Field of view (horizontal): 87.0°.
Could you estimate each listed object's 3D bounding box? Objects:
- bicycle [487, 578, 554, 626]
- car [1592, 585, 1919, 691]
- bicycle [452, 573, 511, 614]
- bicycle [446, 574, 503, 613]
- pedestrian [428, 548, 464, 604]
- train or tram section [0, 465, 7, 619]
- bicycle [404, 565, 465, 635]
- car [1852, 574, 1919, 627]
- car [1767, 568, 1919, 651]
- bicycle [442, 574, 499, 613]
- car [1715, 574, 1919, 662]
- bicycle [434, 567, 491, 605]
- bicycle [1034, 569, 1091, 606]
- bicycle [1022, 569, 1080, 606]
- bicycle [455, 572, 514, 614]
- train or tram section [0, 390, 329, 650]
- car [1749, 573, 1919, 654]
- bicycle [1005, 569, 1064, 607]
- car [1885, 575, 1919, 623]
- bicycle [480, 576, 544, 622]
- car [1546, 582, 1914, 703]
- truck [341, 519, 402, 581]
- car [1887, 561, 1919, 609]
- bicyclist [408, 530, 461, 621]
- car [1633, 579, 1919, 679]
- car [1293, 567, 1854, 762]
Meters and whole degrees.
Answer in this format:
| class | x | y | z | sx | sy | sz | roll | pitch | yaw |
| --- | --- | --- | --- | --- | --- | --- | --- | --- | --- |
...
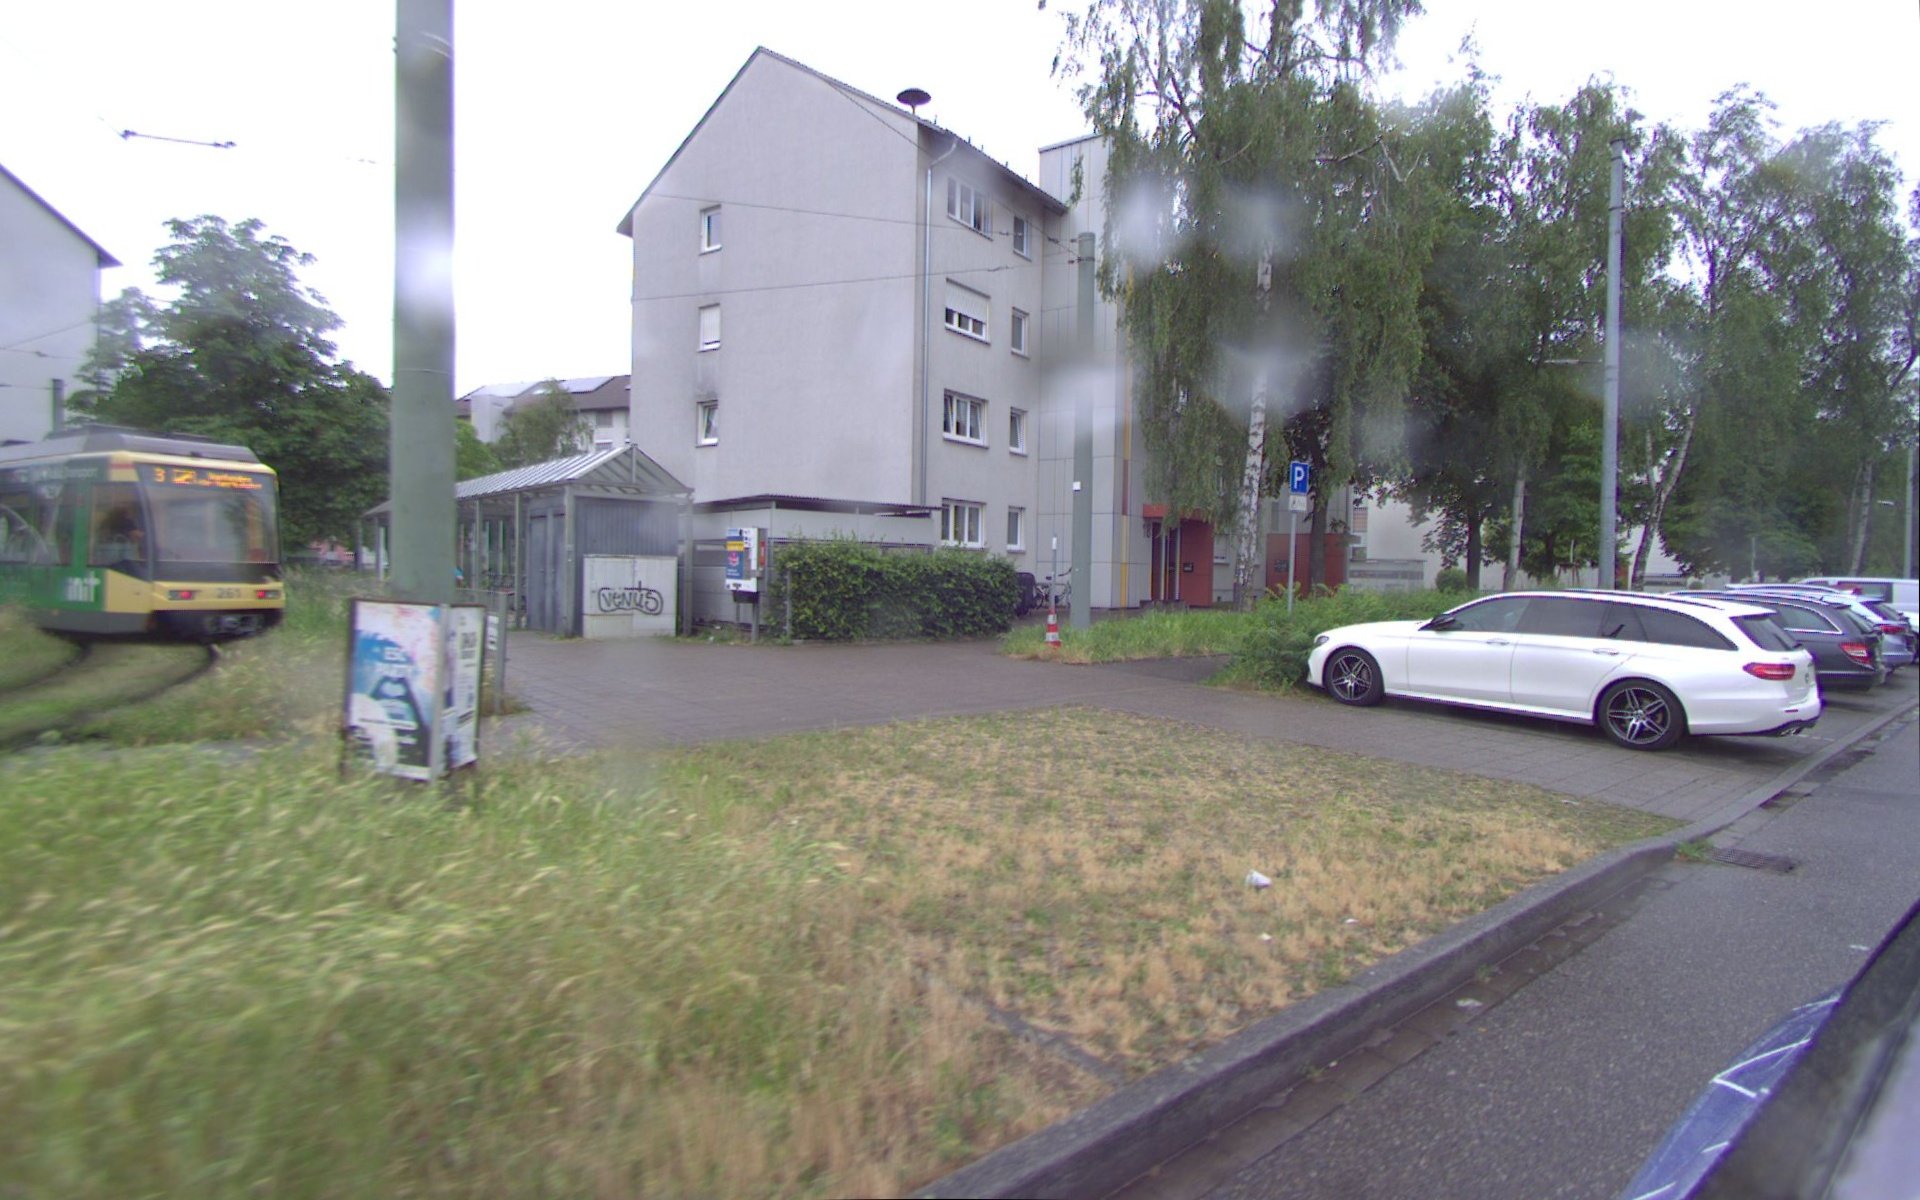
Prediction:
| class | x | y | z | sx | sy | sz | roll | pitch | yaw |
| --- | --- | --- | --- | --- | --- | --- | --- | --- | --- |
| bicycle | -9.058 | 0.035 | 20.858 | 1.215 | 0.968 | 0.377 | -1 | 0 | -38 |
| car | 12.863 | 0.531 | 16.527 | 1.692 | 1.505 | 3.995 | -1 | 0 | -39 |
| bicycle | -11.490 | -0.162 | 24.319 | 1.215 | 0.959 | 0.377 | -1 | 0 | -38 |
| bicycle | -11.956 | -0.162 | 24.931 | 1.215 | 0.959 | 0.377 | -1 | 0 | -38 |
| pedestrian | -14.897 | -0.698 | 29.342 | 0.776 | 1.592 | 0.635 | 0 | 0 | -42 |
| train or tram section | -30.022 | -1.481 | 23.733 | 14.489 | 3.635 | 2.709 | 1 | 0 | 8 |
| bicycle | -9.105 | -0.018 | 17.497 | 0.714 | 1.144 | 1.754 | 1 | 0 | -35 |
| car | 36.528 | 0.016 | 37.879 | 1.866 | 1.967 | 4.541 | 0 | 1 | -42 |
| car | 24.192 | 0.227 | 26.636 | 1.694 | 2.088 | 4.434 | 0 | 0 | -44 |
| bicycle | -12.248 | -0.162 | 25.336 | 1.215 | 0.959 | 0.377 | -1 | 0 | -38 |
| car | 20.226 | 0.369 | 23.175 | 1.692 | 1.869 | 4.440 | 0 | 0 | -39 |
| bicycle | -12.829 | -0.353 | 26.101 | 0.414 | 0.959 | 1.292 | -1 | 0 | 33 |
| bicycle | 2.781 | -0.345 | 27.575 | 1.467 | 0.963 | 0.526 | 1 | 1 | 36 |
| bicycle | 2.433 | -0.337 | 27.077 | 1.467 | 0.963 | 0.526 | 1 | 1 | 36 |
| bicycle | -11.134 | -0.162 | 23.711 | 1.215 | 0.959 | 0.377 | -1 | 0 | -38 |
| train or tram section | -17.170 | -1.243 | 19.119 | 14.621 | 3.635 | 2.684 | 1 | 0 | 32 |
| car | 22.158 | 0.302 | 24.596 | 1.692 | 1.869 | 4.440 | 0 | 0 | -39 |
| bicycle | 1.944 | -0.332 | 26.443 | 1.467 | 0.963 | 0.526 | 1 | 1 | 36 |
| car | 40.712 | -0.047 | 41.085 | 1.866 | 1.967 | 4.541 | 0 | 1 | -42 |
| bicycle | -9.632 | -0.024 | 21.786 | 1.215 | 0.959 | 0.377 | -1 | 0 | -38 |
| car | 11.034 | 0.523 | 14.742 | 1.692 | 1.505 | 3.995 | -1 | 0 | -39 |
| truck | -36.688 | -2.999 | 63.084 | 3.139 | 3.517 | 7.154 | 0 | 0 | -31 |
| car | 43.620 | -0.671 | 44.251 | 1.694 | 2.088 | 4.434 | 0 | 0 | -44 |
| bicyclist | -9.079 | -0.416 | 17.475 | 0.711 | 1.536 | 0.699 | 1 | 0 | -34 |
| car | 14.746 | 0.458 | 18.291 | 1.692 | 1.606 | 3.995 | -1 | 0 | -39 |
| car | 6.371 | 0.490 | 11.078 | 1.964 | 1.475 | 4.839 | 0 | 4 | -40 |
